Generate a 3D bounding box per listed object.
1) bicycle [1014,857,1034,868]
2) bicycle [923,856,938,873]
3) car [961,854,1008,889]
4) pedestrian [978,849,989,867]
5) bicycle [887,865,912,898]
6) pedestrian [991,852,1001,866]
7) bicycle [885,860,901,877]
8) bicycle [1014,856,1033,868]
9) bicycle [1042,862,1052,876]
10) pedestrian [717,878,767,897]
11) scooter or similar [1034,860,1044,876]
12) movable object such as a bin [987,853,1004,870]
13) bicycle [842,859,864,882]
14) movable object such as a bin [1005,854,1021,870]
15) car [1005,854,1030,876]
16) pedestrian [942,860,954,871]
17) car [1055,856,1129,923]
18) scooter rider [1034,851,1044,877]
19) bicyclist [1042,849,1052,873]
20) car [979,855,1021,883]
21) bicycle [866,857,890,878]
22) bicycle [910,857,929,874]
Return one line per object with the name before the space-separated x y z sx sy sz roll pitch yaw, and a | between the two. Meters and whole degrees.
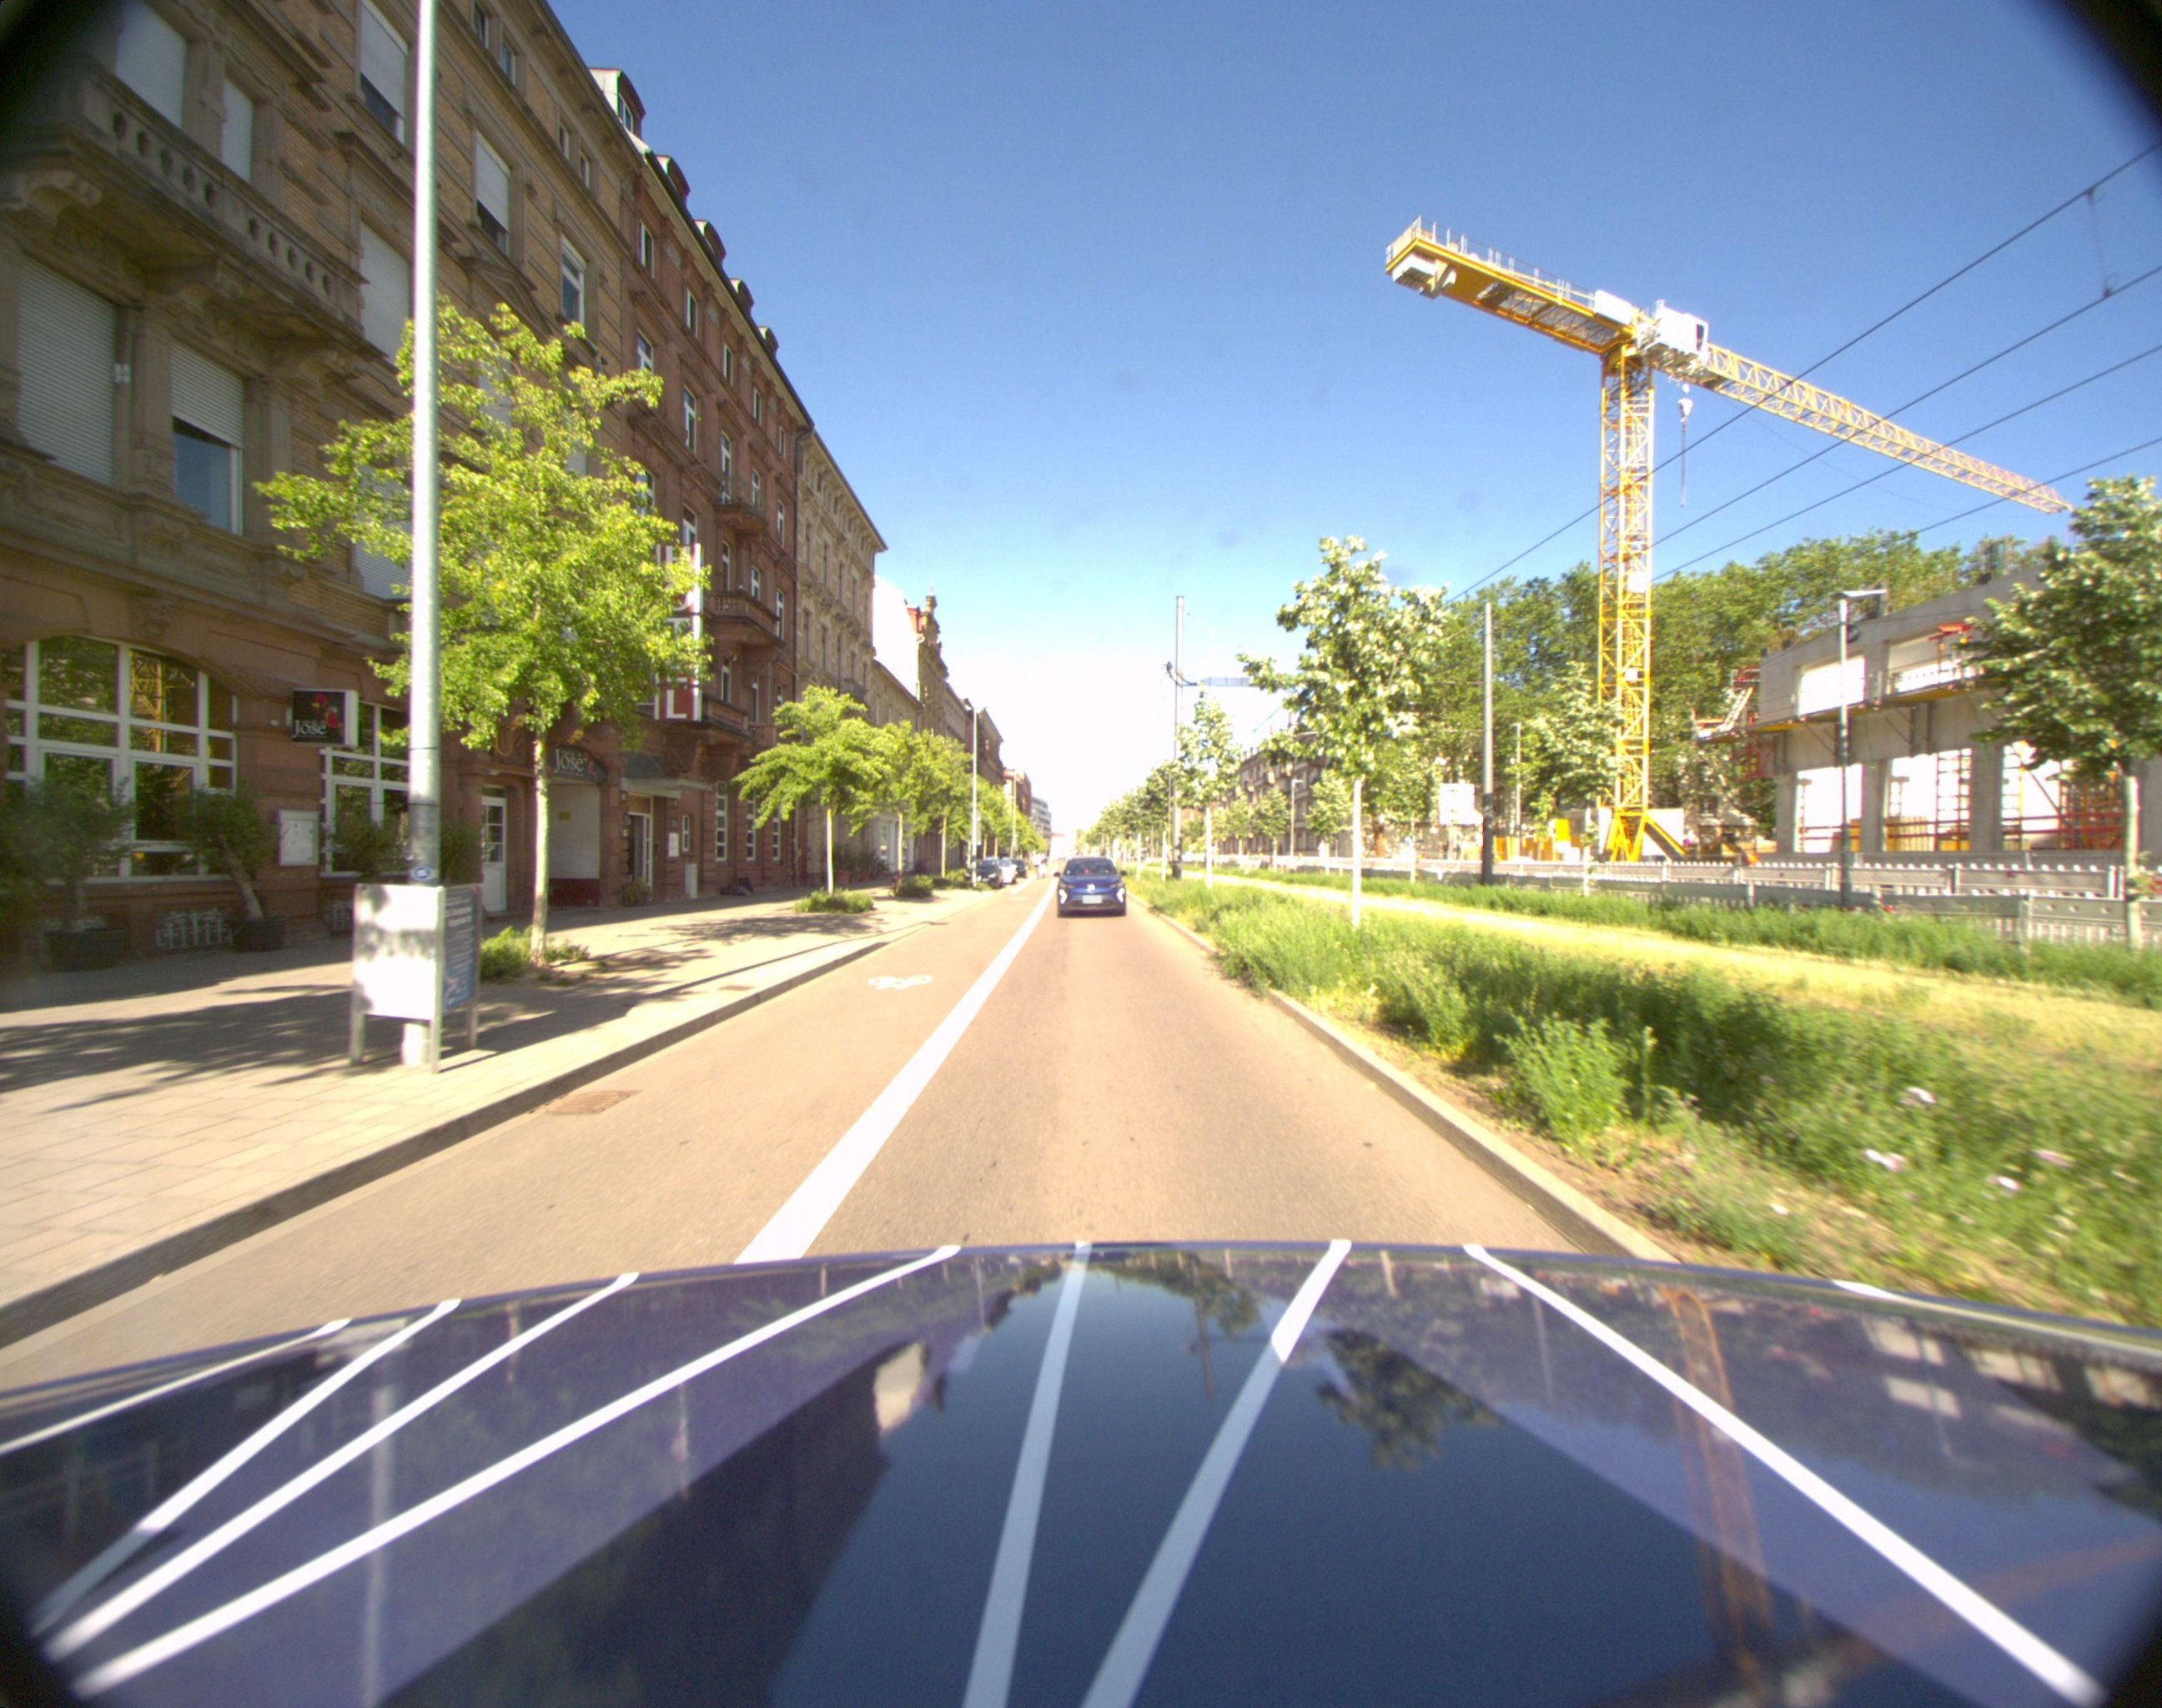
bicycle | -6.156 0.877 81.737 2.050 1.100 0.610 3 1 -7
bicycle | -11.075 0.746 55.866 0.750 1.194 1.800 1 1 -1
car | -4.842 0.865 38.777 1.889 1.560 4.219 2 1 -1
pedestrian | -10.575 0.466 82.178 0.892 1.909 1.098 2 1 4
bicycle | -6.879 1.018 28.888 0.652 1.113 2.171 2 1 -6
pedestrian | -9.562 0.577 85.646 0.953 1.557 1.080 1 0 -1
bicycle | -11.427 0.868 46.210 0.448 0.939 2.012 0 0 -1
bicycle | -6.144 0.885 81.329 1.981 1.117 0.481 4 0 -6
bicycle | -2.581 1.117 58.338 0.725 1.000 1.952 -1 0 -2
pedestrian | -11.057 1.085 24.845 0.775 0.550 2.007 1 0 -1
scooter or similar | -3.030 1.033 55.156 0.647 1.151 1.150 -1 1 -1
movable object such as a bin | -7.966 0.724 70.880 1.377 1.487 1.748 3 1 0
bicycle | -11.192 0.787 37.320 0.482 1.084 2.056 1 0 -1
movable object such as a bin | -6.368 0.756 71.077 1.274 1.454 1.645 -1 -2 4
car | -4.832 0.846 58.220 1.771 1.468 4.446 3 1 -3
pedestrian | -11.153 0.967 63.759 0.873 0.814 0.979 -1 1 -14
car | 0.232 0.888 21.036 1.758 1.576 4.419 -2 0 -1
scooter rider | -3.024 0.726 55.069 0.662 1.855 0.897 -1 1 0
bicyclist | -2.613 0.555 58.478 0.725 1.807 1.091 -1 1 -1
car | -4.768 0.859 45.513 1.956 1.486 5.104 2 0 -1
bicycle | -11.132 0.749 41.665 0.723 1.084 2.198 1 0 -1
bicycle | -11.211 0.758 52.799 0.878 1.098 2.181 3 0 -4
